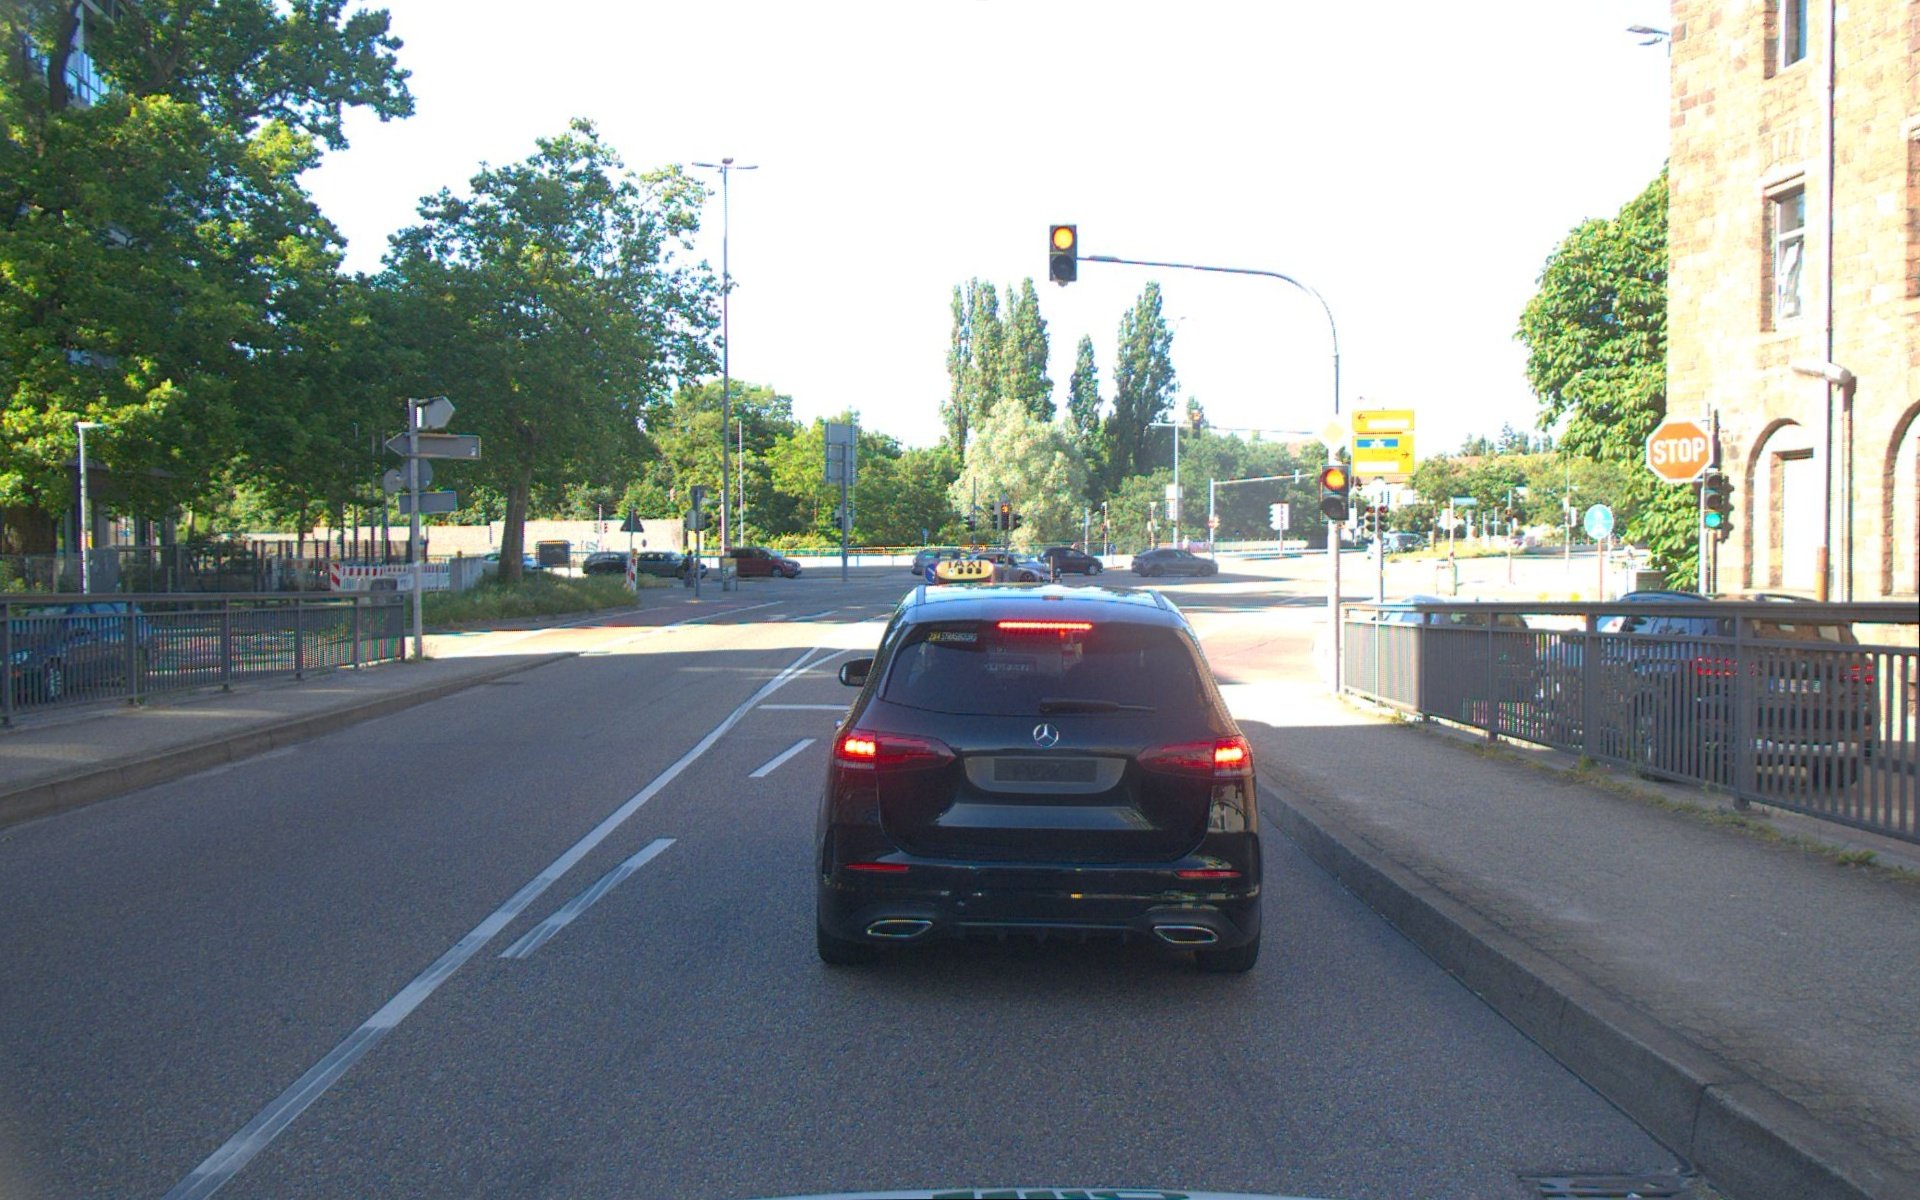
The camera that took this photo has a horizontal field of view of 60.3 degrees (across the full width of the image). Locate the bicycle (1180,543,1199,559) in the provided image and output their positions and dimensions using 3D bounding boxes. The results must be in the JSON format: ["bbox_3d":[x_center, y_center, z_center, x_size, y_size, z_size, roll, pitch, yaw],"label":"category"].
[{"bbox_3d":[15.891,-3.378,114.373,0.516,1.068,1.985,-1,2,32],"label":"bicycle"}]

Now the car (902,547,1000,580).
[{"bbox_3d":[-0.465,-1.785,80.858,4.709,1.466,2.000,-1,3,-1],"label":"car"}]

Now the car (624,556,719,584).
[{"bbox_3d":[-14.547,-1.495,83.330,4.494,1.317,1.997,0,3,30],"label":"car"}]

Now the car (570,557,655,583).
[{"bbox_3d":[-18.973,-1.631,90.274,4.498,1.317,1.882,1,3,33],"label":"car"}]

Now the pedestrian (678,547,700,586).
[{"bbox_3d":[-11.112,-1.374,67.834,0.690,1.552,0.744,1,1,10],"label":"pedestrian"}]

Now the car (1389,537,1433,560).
[{"bbox_3d":[32.838,-3.729,120.368,1.846,1.605,3.987,1,2,35],"label":"car"}]

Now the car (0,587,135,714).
[{"bbox_3d":[-14.768,0.718,25.791,1.814,1.722,4.000,0,2,-1],"label":"car"}]

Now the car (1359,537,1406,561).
[{"bbox_3d":[29.435,-3.543,115.160,1.846,1.605,3.987,1,2,35],"label":"car"}]

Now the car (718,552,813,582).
[{"bbox_3d":[-10.147,-1.722,86.341,4.441,1.481,2.002,0,3,18],"label":"car"}]

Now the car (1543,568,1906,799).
[{"bbox_3d":[7.452,0.693,16.649,1.686,1.843,4.299,1,3,1],"label":"car"}]

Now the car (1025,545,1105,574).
[{"bbox_3d":[5.421,-2.121,85.767,3.982,1.381,1.787,-1,3,-1],"label":"car"}]

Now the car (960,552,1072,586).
[{"bbox_3d":[2.301,-1.268,68.000,4.138,1.317,1.997,0,3,30],"label":"car"}]

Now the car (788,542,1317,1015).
[{"bbox_3d":[0.300,0.605,7.828,1.839,1.641,4.000,1,1,-1],"label":"car"}]

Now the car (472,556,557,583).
[{"bbox_3d":[-24.000,-1.635,89.061,4.221,1.389,1.996,0,3,31],"label":"car"}]

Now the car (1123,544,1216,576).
[{"bbox_3d":[10.344,-1.982,81.888,4.201,1.466,1.997,-2,3,-9],"label":"car"}]

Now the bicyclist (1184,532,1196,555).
[{"bbox_3d":[15.890,-3.883,114.351,0.516,1.578,0.805,-1,2,33],"label":"bicyclist"}]

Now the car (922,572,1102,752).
[{"bbox_3d":[0.513,0.534,16.717,1.606,1.556,3.475,-1,2,1],"label":"car"}]

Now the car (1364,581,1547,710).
[{"bbox_3d":[7.600,0.628,25.756,1.685,1.631,4.300,1,3,2],"label":"car"}]

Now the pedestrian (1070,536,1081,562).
[{"bbox_3d":[7.202,-3.196,103.197,0.443,1.613,0.499,0,2,40],"label":"pedestrian"}]
